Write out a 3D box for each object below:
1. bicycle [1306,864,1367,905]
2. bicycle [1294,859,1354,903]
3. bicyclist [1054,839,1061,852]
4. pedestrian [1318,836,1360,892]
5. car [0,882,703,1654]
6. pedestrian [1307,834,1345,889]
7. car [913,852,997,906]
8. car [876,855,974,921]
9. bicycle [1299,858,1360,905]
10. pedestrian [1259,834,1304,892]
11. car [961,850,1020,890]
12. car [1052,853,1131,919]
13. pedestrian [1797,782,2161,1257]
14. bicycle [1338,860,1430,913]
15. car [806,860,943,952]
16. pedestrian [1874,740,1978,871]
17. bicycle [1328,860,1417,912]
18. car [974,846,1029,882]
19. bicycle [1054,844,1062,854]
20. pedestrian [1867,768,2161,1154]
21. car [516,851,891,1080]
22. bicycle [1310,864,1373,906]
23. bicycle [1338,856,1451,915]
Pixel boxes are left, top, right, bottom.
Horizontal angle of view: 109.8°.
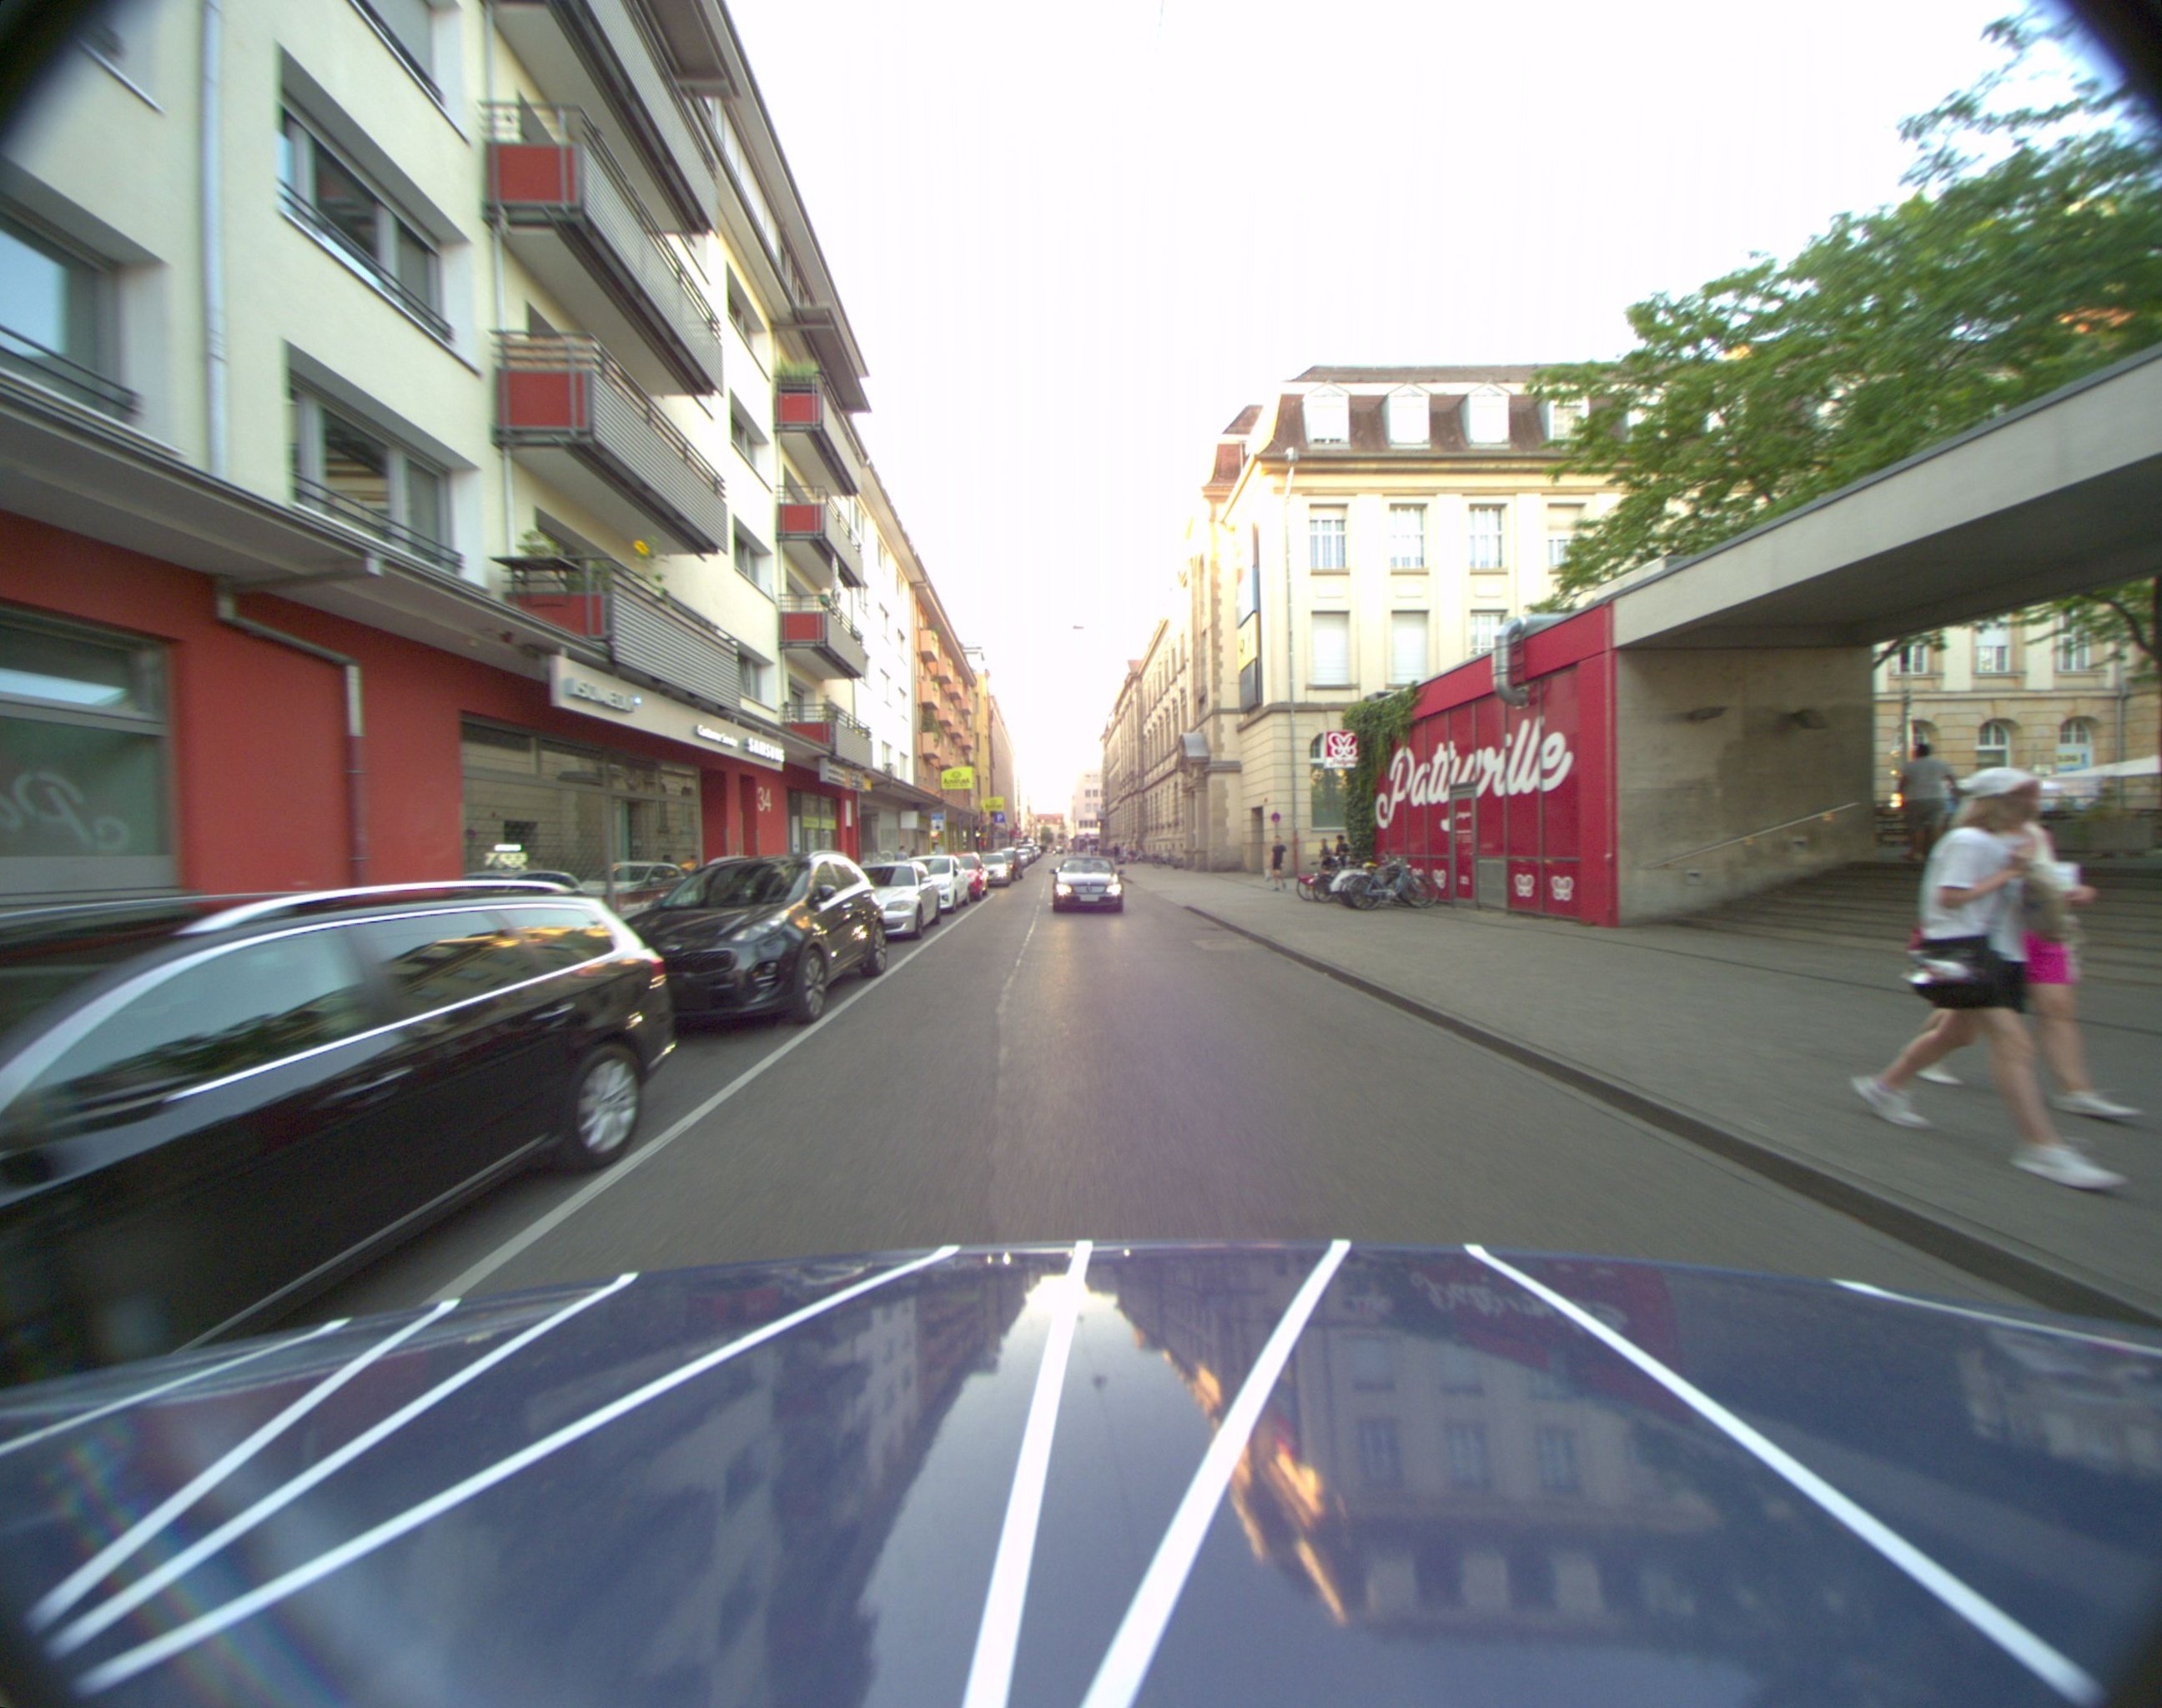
[{"bbox_3d":[6.547,0.772,19.474,1.501,0.973,0.312,-3,1,-10],"label":"bicycle"},{"bbox_3d":[6.450,0.717,20.134,1.501,1.070,0.312,-3,1,-10],"label":"bicycle"},{"bbox_3d":[-3.760,-1.384,121.025,1.045,2.002,1.182,-2,2,0],"label":"bicyclist"},{"bbox_3d":[8.098,0.307,23.840,0.921,1.717,0.833,-2,1,-9],"label":"pedestrian"},{"bbox_3d":[-3.321,1.008,2.345,1.878,1.543,4.630,-3,1,1],"label":"car"},{"bbox_3d":[7.978,0.234,24.772,0.920,1.717,0.702,-2,1,-6],"label":"pedestrian"},{"bbox_3d":[-3.941,0.737,24.542,1.866,1.468,4.394,-3,1,1],"label":"car"},{"bbox_3d":[-4.005,0.809,20.111,1.767,1.468,3.946,-3,1,-1],"label":"car"},{"bbox_3d":[6.477,0.696,19.790,1.501,1.134,0.312,-3,1,-10],"label":"bicycle"},{"bbox_3d":[6.608,0.297,25.059,1.009,1.816,0.944,-3,1,-28],"label":"pedestrian"},{"bbox_3d":[-3.747,0.606,32.221,1.897,1.468,4.300,-3,1,1],"label":"car"},{"bbox_3d":[0.256,0.725,19.814,1.809,1.400,4.615,0,2,0],"label":"car"},{"bbox_3d":[3.974,0.621,3.310,0.851,1.783,0.869,-3,1,0],"label":"pedestrian"},{"bbox_3d":[6.686,0.722,16.790,1.844,1.077,0.354,-2,1,4],"label":"bicycle"},{"bbox_3d":[-3.817,0.883,14.729,1.752,1.395,3.965,-3,1,-4],"label":"car"},{"bbox_3d":[12.429,-0.679,11.177,0.833,1.816,0.943,-4,1,-38],"label":"pedestrian"},{"bbox_3d":[6.601,0.722,17.241,1.844,1.077,0.354,-3,1,4],"label":"bicycle"},{"bbox_3d":[-3.885,0.448,37.942,1.998,1.607,4.367,-3,1,3],"label":"car"},{"bbox_3d":[-3.675,-0.809,121.336,1.038,1.513,2.822,-2,1,3],"label":"bicycle"},{"bbox_3d":[4.865,0.497,3.923,0.811,1.783,0.736,-3,1,0],"label":"pedestrian"},{"bbox_3d":[-3.483,0.869,8.058,1.884,1.690,4.136,-3,1,-1],"label":"car"},{"bbox_3d":[6.579,0.772,19.164,1.501,0.950,0.312,-3,1,-10],"label":"bicycle"},{"bbox_3d":[6.758,0.679,16.423,2.180,1.149,0.445,-3,1,4],"label":"bicycle"}]
